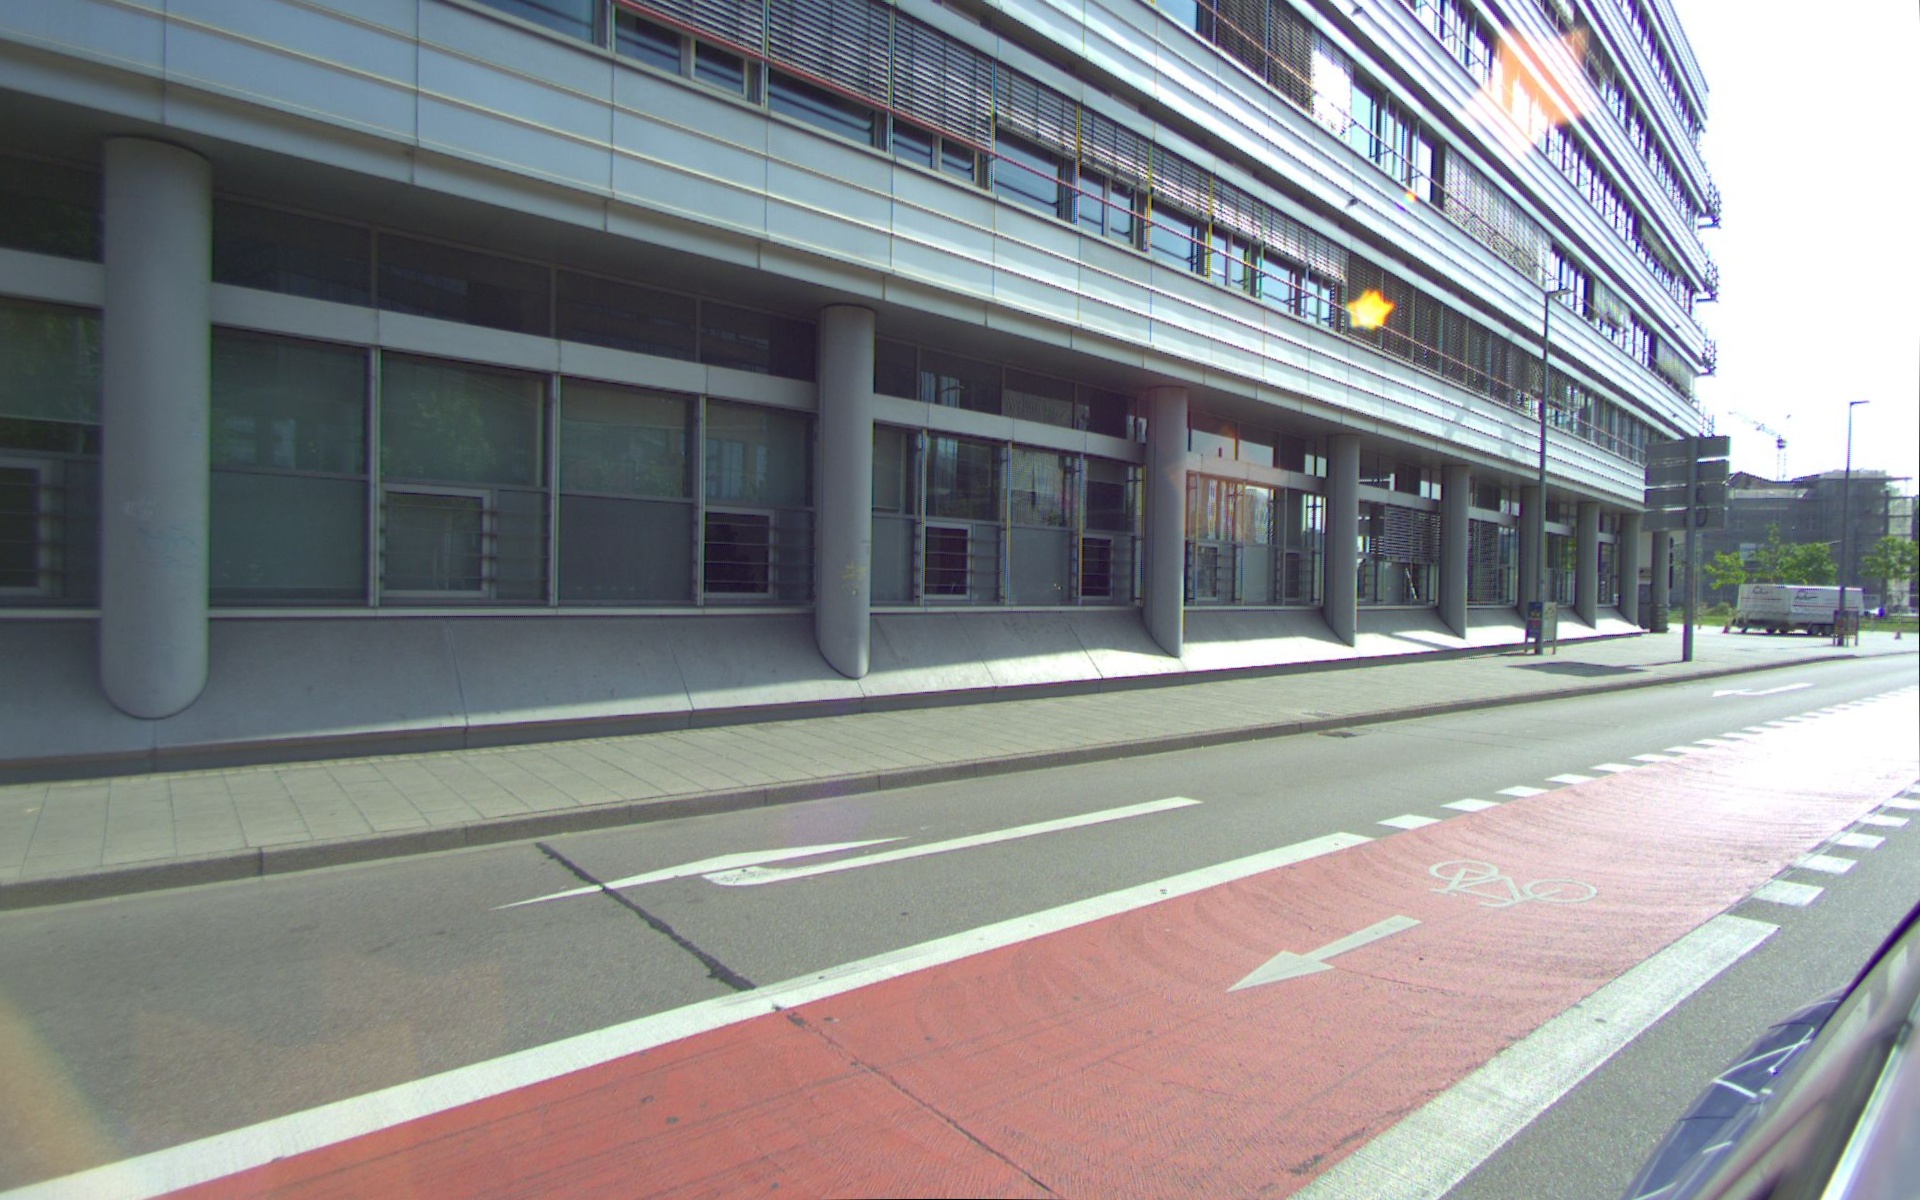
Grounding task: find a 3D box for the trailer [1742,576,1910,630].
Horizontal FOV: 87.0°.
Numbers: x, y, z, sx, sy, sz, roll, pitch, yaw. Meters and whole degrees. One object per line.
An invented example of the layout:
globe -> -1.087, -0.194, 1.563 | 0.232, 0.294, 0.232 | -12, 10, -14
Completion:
trailer -> 37.321, 0.117, 43.676 | 5.825, 2.178, 2.402 | 1, 1, -12
